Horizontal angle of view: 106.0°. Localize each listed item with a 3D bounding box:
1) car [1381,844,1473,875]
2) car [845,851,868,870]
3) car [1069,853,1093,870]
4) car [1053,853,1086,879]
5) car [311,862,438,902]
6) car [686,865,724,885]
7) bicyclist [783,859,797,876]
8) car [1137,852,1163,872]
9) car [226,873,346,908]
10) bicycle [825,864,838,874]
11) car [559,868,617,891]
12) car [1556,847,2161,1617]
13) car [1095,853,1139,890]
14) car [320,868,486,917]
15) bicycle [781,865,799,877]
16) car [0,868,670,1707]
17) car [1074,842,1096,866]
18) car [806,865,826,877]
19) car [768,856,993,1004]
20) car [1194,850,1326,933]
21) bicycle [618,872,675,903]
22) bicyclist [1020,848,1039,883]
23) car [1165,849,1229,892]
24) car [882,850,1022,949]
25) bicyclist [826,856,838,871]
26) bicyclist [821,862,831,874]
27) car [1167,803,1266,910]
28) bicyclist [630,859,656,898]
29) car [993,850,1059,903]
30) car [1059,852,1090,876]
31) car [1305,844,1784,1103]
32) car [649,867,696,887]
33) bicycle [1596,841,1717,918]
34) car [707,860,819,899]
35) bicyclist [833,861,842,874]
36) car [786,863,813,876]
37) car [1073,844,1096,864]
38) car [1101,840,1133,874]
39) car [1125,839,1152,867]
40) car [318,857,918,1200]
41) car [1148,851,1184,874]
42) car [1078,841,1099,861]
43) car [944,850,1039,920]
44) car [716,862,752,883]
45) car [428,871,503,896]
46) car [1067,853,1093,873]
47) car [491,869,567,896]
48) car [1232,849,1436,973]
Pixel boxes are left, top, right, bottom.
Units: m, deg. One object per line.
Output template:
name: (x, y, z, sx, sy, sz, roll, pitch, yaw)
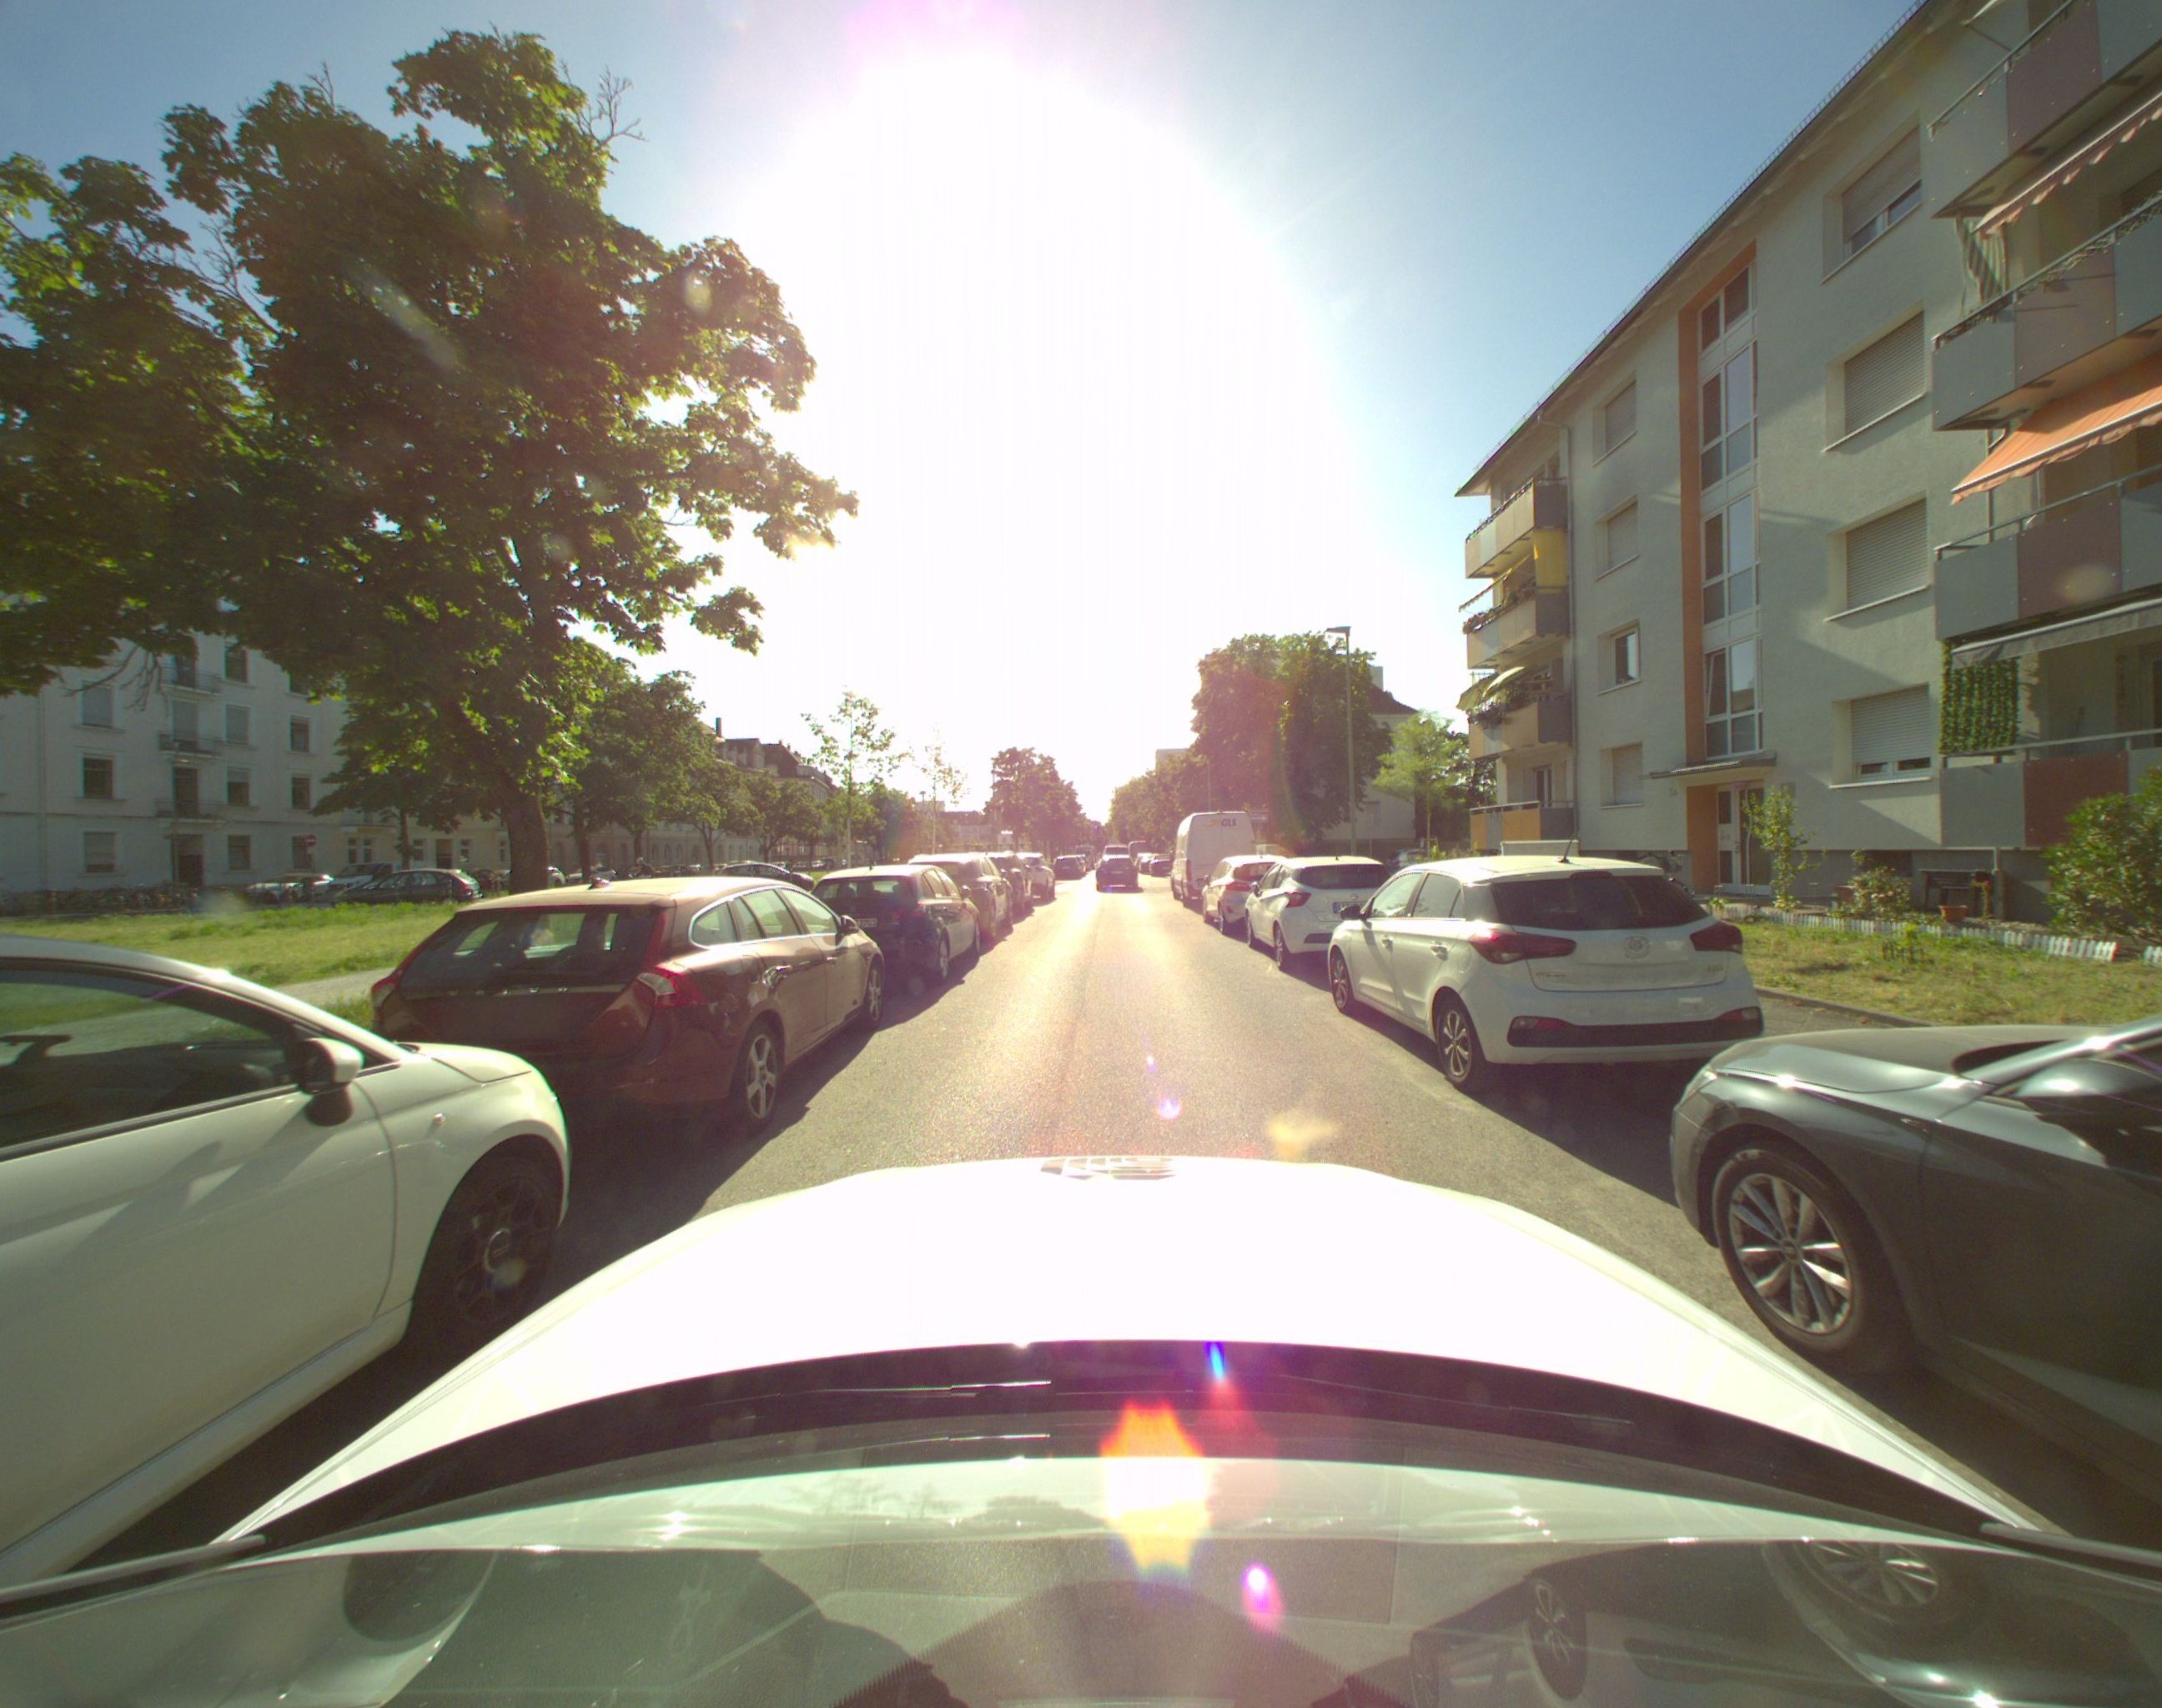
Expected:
car: (17.172, 0.255, 40.522, 3.876, 1.429, 1.657, -2, 0, -2)
car: (-33.886, 0.931, 122.868, 1.910, 2.744, 5.623, -1, 0, 0)
car: (0.040, 0.644, 73.265, 1.825, 1.500, 4.130, -1, 0, 3)
car: (-0.683, 0.750, 51.016, 1.741, 1.425, 3.919, -4, -1, 3)
car: (-36.445, 1.391, 42.233, 2.075, 1.872, 5.097, -1, 0, 0)
car: (-35.090, 1.915, 76.051, 1.626, 1.686, 4.080, -1, 0, 0)
bicyclist: (-31.245, 1.432, 87.548, 0.938, 1.837, 1.450, -2, -1, 1)
car: (5.122, 0.592, 60.556, 1.772, 1.371, 4.130, -1, 0, 3)
car: (-41.691, 1.877, 42.860, 1.988, 1.586, 4.449, -1, 0, -2)
bicycle: (-30.978, 1.875, 101.130, 0.807, 1.252, 2.634, 0, -2, 0)
car: (-35.616, 1.811, 58.975, 1.689, 1.526, 4.080, -1, 0, 0)
car: (2.934, 0.740, 1.331, 1.693, 1.435, 4.472, -3, 0, 1)
car: (1.580, 0.711, 35.257, 1.772, 1.531, 4.004, 0, 0, 3)
car: (-25.325, 1.391, 30.632, 4.352, 1.576, 1.915, -2, 0, -23)
bicycle: (-31.255, 1.844, 87.495, 0.807, 1.252, 2.635, -2, -1, 2)
car: (-2.651, 0.854, 1.724, 1.581, 1.492, 3.685, -3, 0, 1)
car: (0.465, -0.054, 88.145, 2.090, 2.496, 4.130, -1, 0, 3)
car: (-34.021, 2.207, 104.635, 1.512, 1.440, 3.231, -1, 0, -1)
car: (-2.483, 0.853, 11.339, 1.867, 1.519, 4.471, -3, 0, 1)
car: (3.534, 0.669, 16.821, 1.842, 1.466, 4.202, 0, 0, 1)
bicycle: (-19.501, 1.487, 36.589, 2.153, 1.258, 0.710, -1, 0, -18)
bicyclist: (-2.371, 0.535, 37.455, 0.786, 1.596, 0.696, -1, 0, -1)
car: (4.539, 0.616, 32.433, 1.951, 1.481, 4.500, -3, 0, 1)
car: (-2.392, 0.774, 16.371, 1.812, 1.610, 4.741, -3, 0, 2)
bicyclist: (-30.977, 1.186, 101.189, 0.938, 1.837, 1.449, -2, -1, 1)
bicyclist: (-30.950, 1.711, 98.878, 0.735, 1.437, 0.943, -10, -2, 1)
car: (3.924, 0.053, 24.788, 2.133, 2.713, 6.847, -3, 0, 3)
bicyclist: (-19.642, 1.081, 36.539, 0.879, 1.690, 0.628, -2, 0, -18)
car: (-1.872, 0.734, 28.976, 1.749, 1.647, 4.291, -3, 0, 3)
car: (-0.404, 0.688, 55.534, 1.770, 1.495, 3.878, -3, -1, 3)
car: (3.229, 0.679, 6.758, 1.714, 1.435, 4.155, -2, 0, 2)
car: (-35.304, 1.927, 70.499, 1.751, 1.549, 4.527, -1, 0, 0)
bicycle: (9.546, 0.415, 13.626, 0.593, 1.176, 2.014, -1, -1, 1)
car: (-13.713, 1.060, 35.245, 4.352, 1.409, 1.906, -1, 2, -23)
bicyclist: (-29.679, 1.643, 99.372, 0.735, 1.437, 0.943, -2, -1, 1)
car: (-34.526, 1.897, 100.129, 1.839, 1.440, 3.776, -1, 0, 2)
car: (0.390, 0.019, 81.731, 2.090, 1.942, 4.129, -1, 0, 2)
car: (2.350, 0.154, 52.116, 1.886, 1.991, 4.014, -3, 0, 3)
car: (5.730, -0.082, 82.105, 2.156, 2.689, 5.414, -2, 0, -1)
car: (-2.649, 0.826, 6.170, 1.749, 1.492, 4.668, -3, 0, 1)
car: (5.633, 0.537, 54.582, 2.116, 1.337, 4.509, -4, 0, 3)
car: (1.073, -0.357, 113.608, 2.605, 2.645, 6.119, -1, 0, 3)
car: (-2.320, 0.765, 22.462, 1.835, 1.638, 4.717, -3, 0, 2)
car: (-34.935, 1.832, 82.098, 1.731, 1.908, 4.460, -1, 0, 0)
car: (-35.906, 1.708, 47.601, 1.689, 1.279, 3.525, -1, 0, -1)
car: (-0.073, 0.672, 63.461, 1.772, 1.461, 4.130, -1, 0, 3)
car: (-35.760, 1.829, 52.908, 1.689, 1.561, 4.696, -1, 0, 0)
car: (3.511, 0.698, 12.132, 1.870, 1.475, 4.143, -2, 0, 2)
